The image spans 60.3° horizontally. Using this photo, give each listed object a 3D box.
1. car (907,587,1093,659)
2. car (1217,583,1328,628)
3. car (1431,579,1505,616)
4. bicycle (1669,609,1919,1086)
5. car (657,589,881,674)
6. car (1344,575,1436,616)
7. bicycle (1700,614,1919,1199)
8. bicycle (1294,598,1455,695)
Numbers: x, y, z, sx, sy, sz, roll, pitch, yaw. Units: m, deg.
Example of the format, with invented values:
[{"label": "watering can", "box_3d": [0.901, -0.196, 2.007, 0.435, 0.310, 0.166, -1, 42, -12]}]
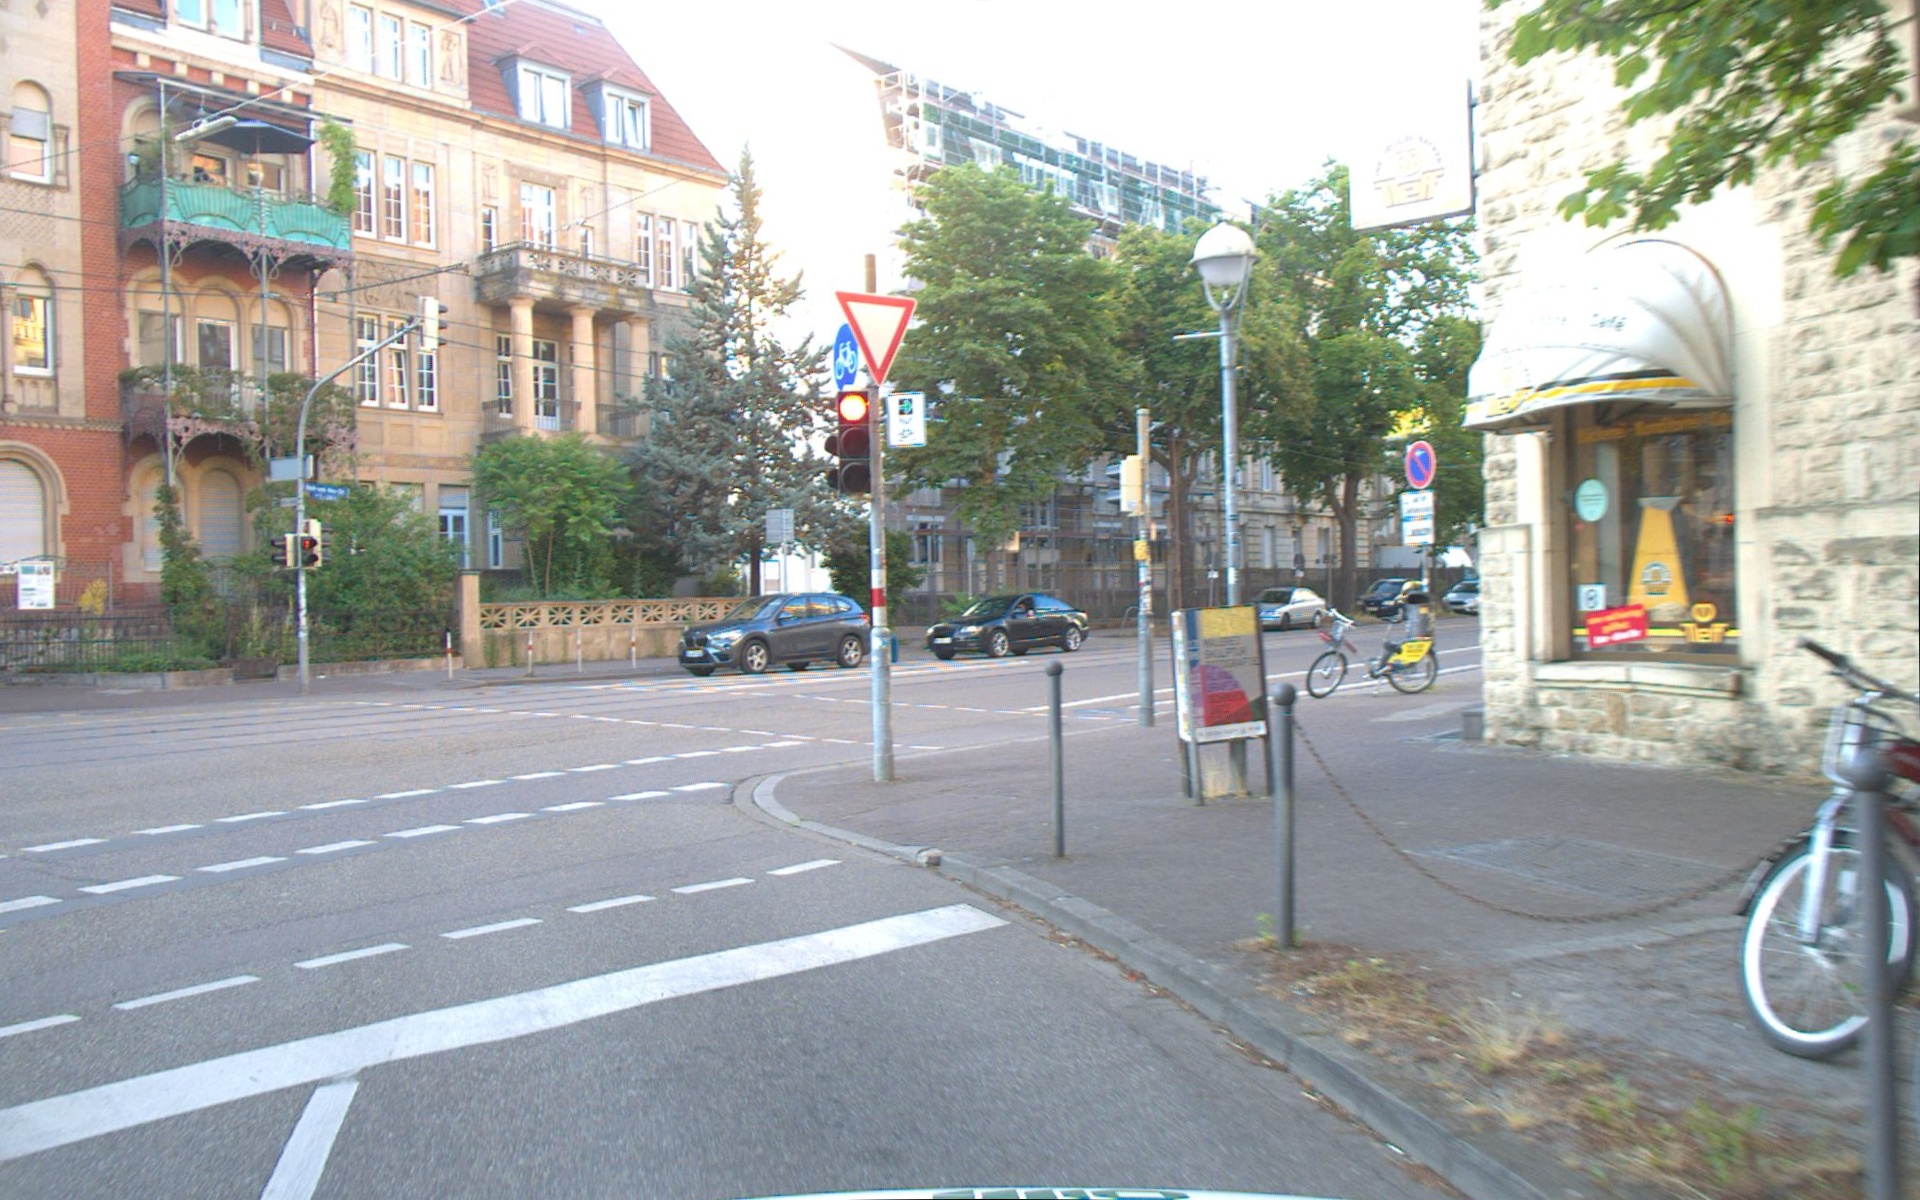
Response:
[{"label": "car", "box_3d": [1.011, 0.523, 39.230, 1.915, 1.536, 4.606, -1, 0, 41]}, {"label": "car", "box_3d": [10.931, 0.167, 57.706, 1.971, 1.451, 4.613, -1, 0, 37]}, {"label": "car", "box_3d": [22.512, -0.137, 73.248, 1.910, 1.508, 4.306, -1, 0, 35]}, {"label": "bicycle", "box_3d": [3.128, 0.660, 5.003, 1.757, 1.258, 0.649, -2, 0, -14]}, {"label": "car", "box_3d": [-3.814, 0.603, 33.686, 1.915, 1.536, 4.395, -1, 0, 41]}, {"label": "car", "box_3d": [17.147, -0.182, 65.851, 1.915, 1.508, 4.145, -1, 0, 41]}, {"label": "bicycle", "box_3d": [2.749, 0.657, 3.887, 1.756, 1.258, 0.697, -2, 0, -13]}, {"label": "bicycle", "box_3d": [5.194, 0.580, 20.801, 1.833, 1.150, 0.732, -2, 0, 2]}]
